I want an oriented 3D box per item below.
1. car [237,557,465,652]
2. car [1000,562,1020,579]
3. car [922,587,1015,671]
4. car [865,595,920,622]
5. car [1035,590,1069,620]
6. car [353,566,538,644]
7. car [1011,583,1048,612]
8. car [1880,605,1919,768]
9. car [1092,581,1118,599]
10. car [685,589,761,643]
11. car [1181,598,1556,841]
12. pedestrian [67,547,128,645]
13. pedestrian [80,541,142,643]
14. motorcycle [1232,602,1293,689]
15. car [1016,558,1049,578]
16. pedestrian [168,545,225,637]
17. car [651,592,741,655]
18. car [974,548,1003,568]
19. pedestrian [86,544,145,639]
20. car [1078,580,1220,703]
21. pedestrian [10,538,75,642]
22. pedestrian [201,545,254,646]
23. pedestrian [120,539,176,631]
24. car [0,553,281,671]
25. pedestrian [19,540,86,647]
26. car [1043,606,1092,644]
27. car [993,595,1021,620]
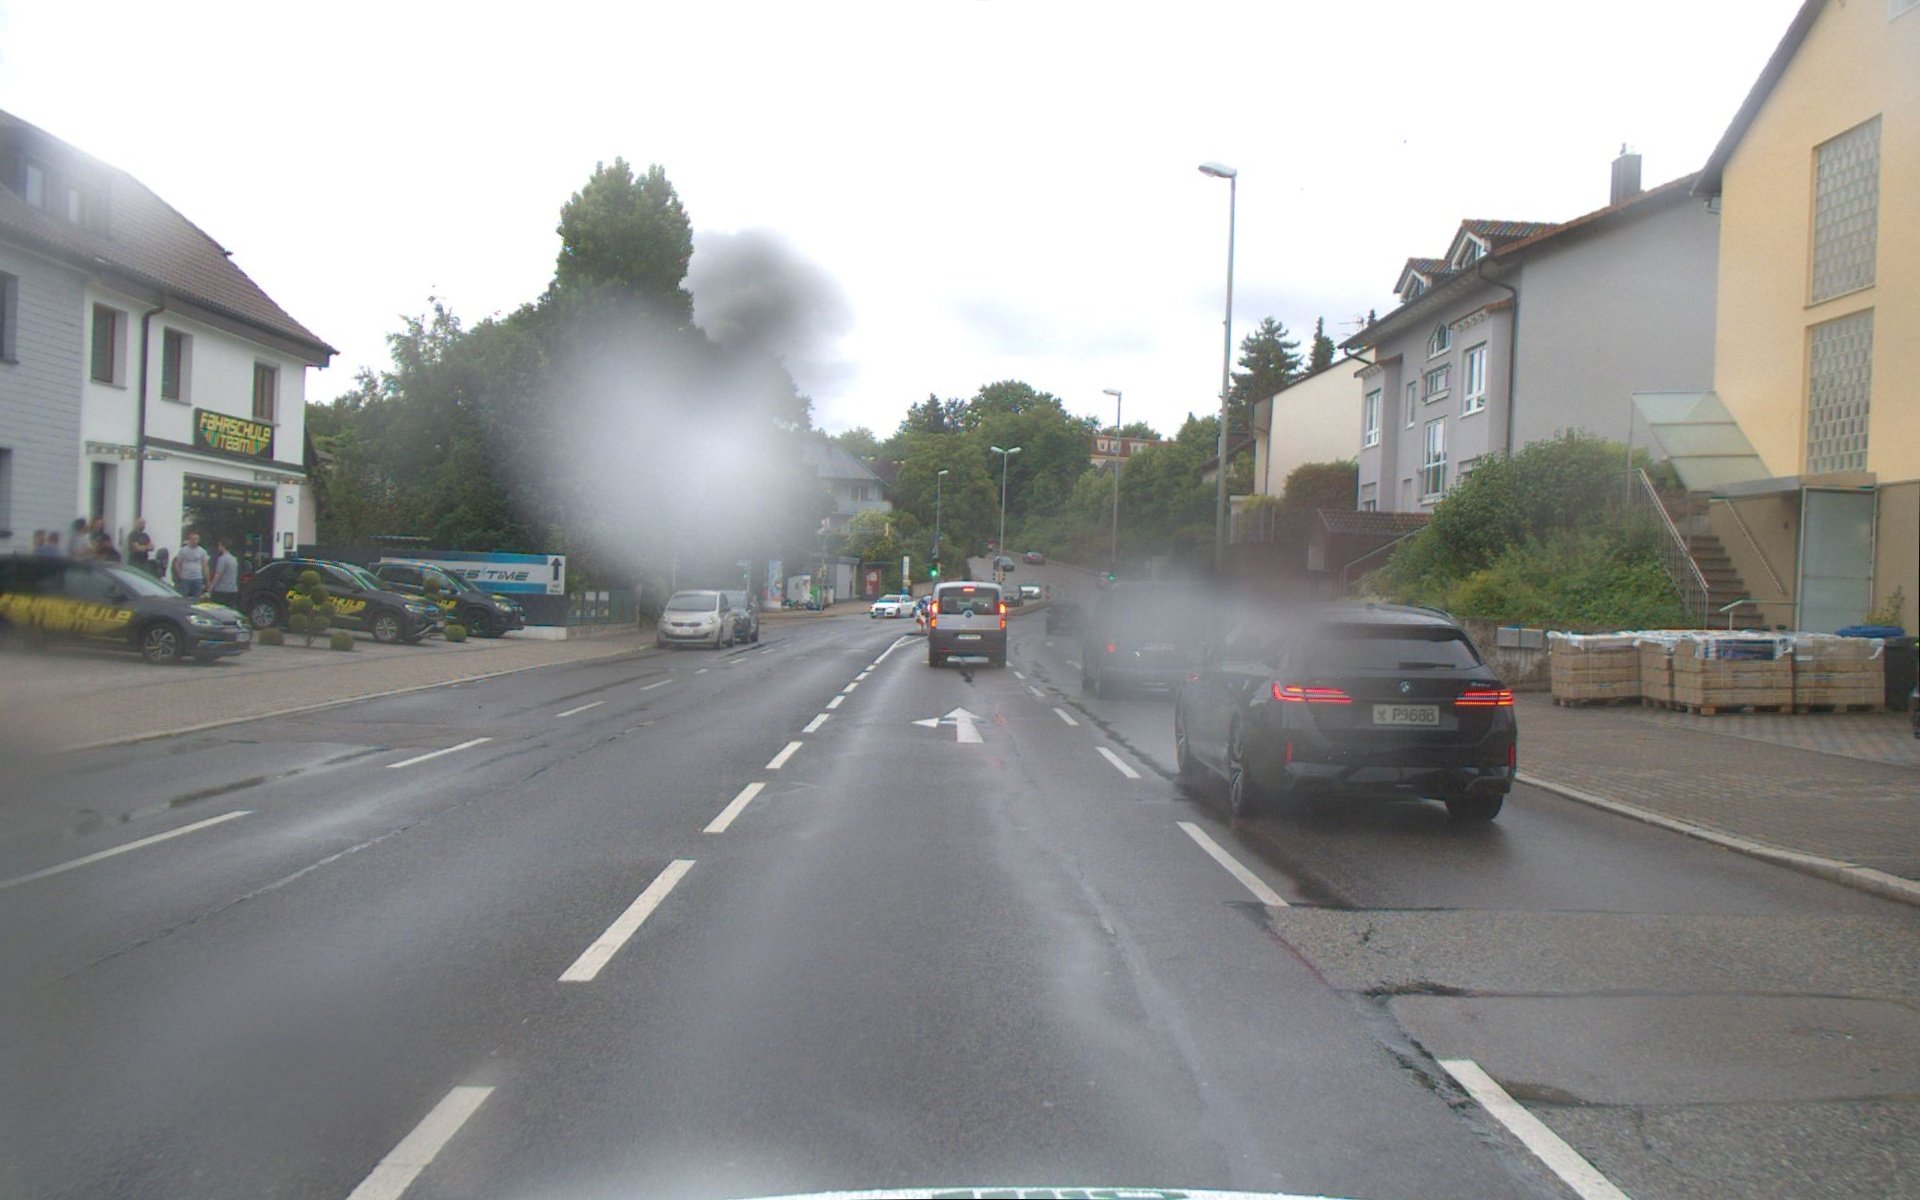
[{"bbox_3d":[-12.839,0.104,35.048,3.991,1.542,1.855,6,-1,-1],"label":"car"},{"bbox_3d":[5.490,-3.221,181.472,1.953,1.613,3.999,2,-1,0],"label":"car"},{"bbox_3d":[0.178,0.651,38.043,1.953,1.768,3.999,2,-1,0],"label":"car"},{"bbox_3d":[-4.247,0.524,104.369,1.952,1.574,4.397,2,-1,19],"label":"car"},{"bbox_3d":[7.271,0.372,131.780,2.469,2.048,5.611,2,3,2],"label":"car"},{"bbox_3d":[-13.005,0.136,41.979,3.991,1.542,1.855,6,-1,-1],"label":"car"},{"bbox_3d":[5.931,-0.220,141.597,2.472,2.048,5.606,3,3,-4],"label":"car"},{"bbox_3d":[10.564,0.798,14.571,3.907,1.458,1.868,1,-1,-3],"label":"car"},{"bbox_3d":[13.628,-0.951,155.548,1.953,1.613,3.999,2,-1,0],"label":"car"},{"bbox_3d":[-7.561,0.511,53.055,1.846,1.613,3.999,2,-1,0],"label":"car"},{"bbox_3d":[2.924,0.796,12.756,1.952,1.510,4.000,2,-1,1],"label":"car"},{"bbox_3d":[-15.551,-0.069,29.830,0.588,1.694,0.650,5,0,4],"label":"pedestrian"},{"bbox_3d":[-14.696,-0.131,28.644,0.588,1.694,0.650,5,0,4],"label":"pedestrian"},{"bbox_3d":[5.542,0.823,30.413,0.689,1.536,2.150,-1,-1,0],"label":"motorcycle"},{"bbox_3d":[8.492,-3.747,193.283,2.477,2.048,5.593,2,3,-12],"label":"car"},{"bbox_3d":[-14.535,-0.171,31.495,0.588,1.694,0.650,5,0,7],"label":"pedestrian"},{"bbox_3d":[-7.350,0.644,46.355,1.846,1.613,3.999,2,-1,0],"label":"car"},{"bbox_3d":[3.674,-5.487,213.948,2.478,2.047,5.594,2,6,-13],"label":"car"},{"bbox_3d":[-15.673,-0.149,30.711,0.588,1.694,0.650,5,0,4],"label":"pedestrian"},{"bbox_3d":[3.009,0.647,27.061,1.801,1.798,3.999,2,-1,0],"label":"car"},{"bbox_3d":[-15.553,-0.162,28.051,0.588,1.694,0.650,5,0,4],"label":"pedestrian"},{"bbox_3d":[-13.638,-0.081,30.806,0.589,1.821,0.649,5,0,-6],"label":"pedestrian"},{"bbox_3d":[-15.535,-0.278,31.648,0.588,1.694,0.650,5,0,4],"label":"pedestrian"},{"bbox_3d":[-12.720,0.164,25.079,3.990,1.542,1.855,3,-1,-1],"label":"car"},{"bbox_3d":[-14.978,-0.103,27.305,0.588,1.694,0.650,5,0,4],"label":"pedestrian"},{"bbox_3d":[4.956,1.140,76.961,1.953,1.606,4.000,-2,0,0],"label":"car"},{"bbox_3d":[3.524,0.564,125.639,1.953,1.803,3.999,1,0,0],"label":"car"}]
